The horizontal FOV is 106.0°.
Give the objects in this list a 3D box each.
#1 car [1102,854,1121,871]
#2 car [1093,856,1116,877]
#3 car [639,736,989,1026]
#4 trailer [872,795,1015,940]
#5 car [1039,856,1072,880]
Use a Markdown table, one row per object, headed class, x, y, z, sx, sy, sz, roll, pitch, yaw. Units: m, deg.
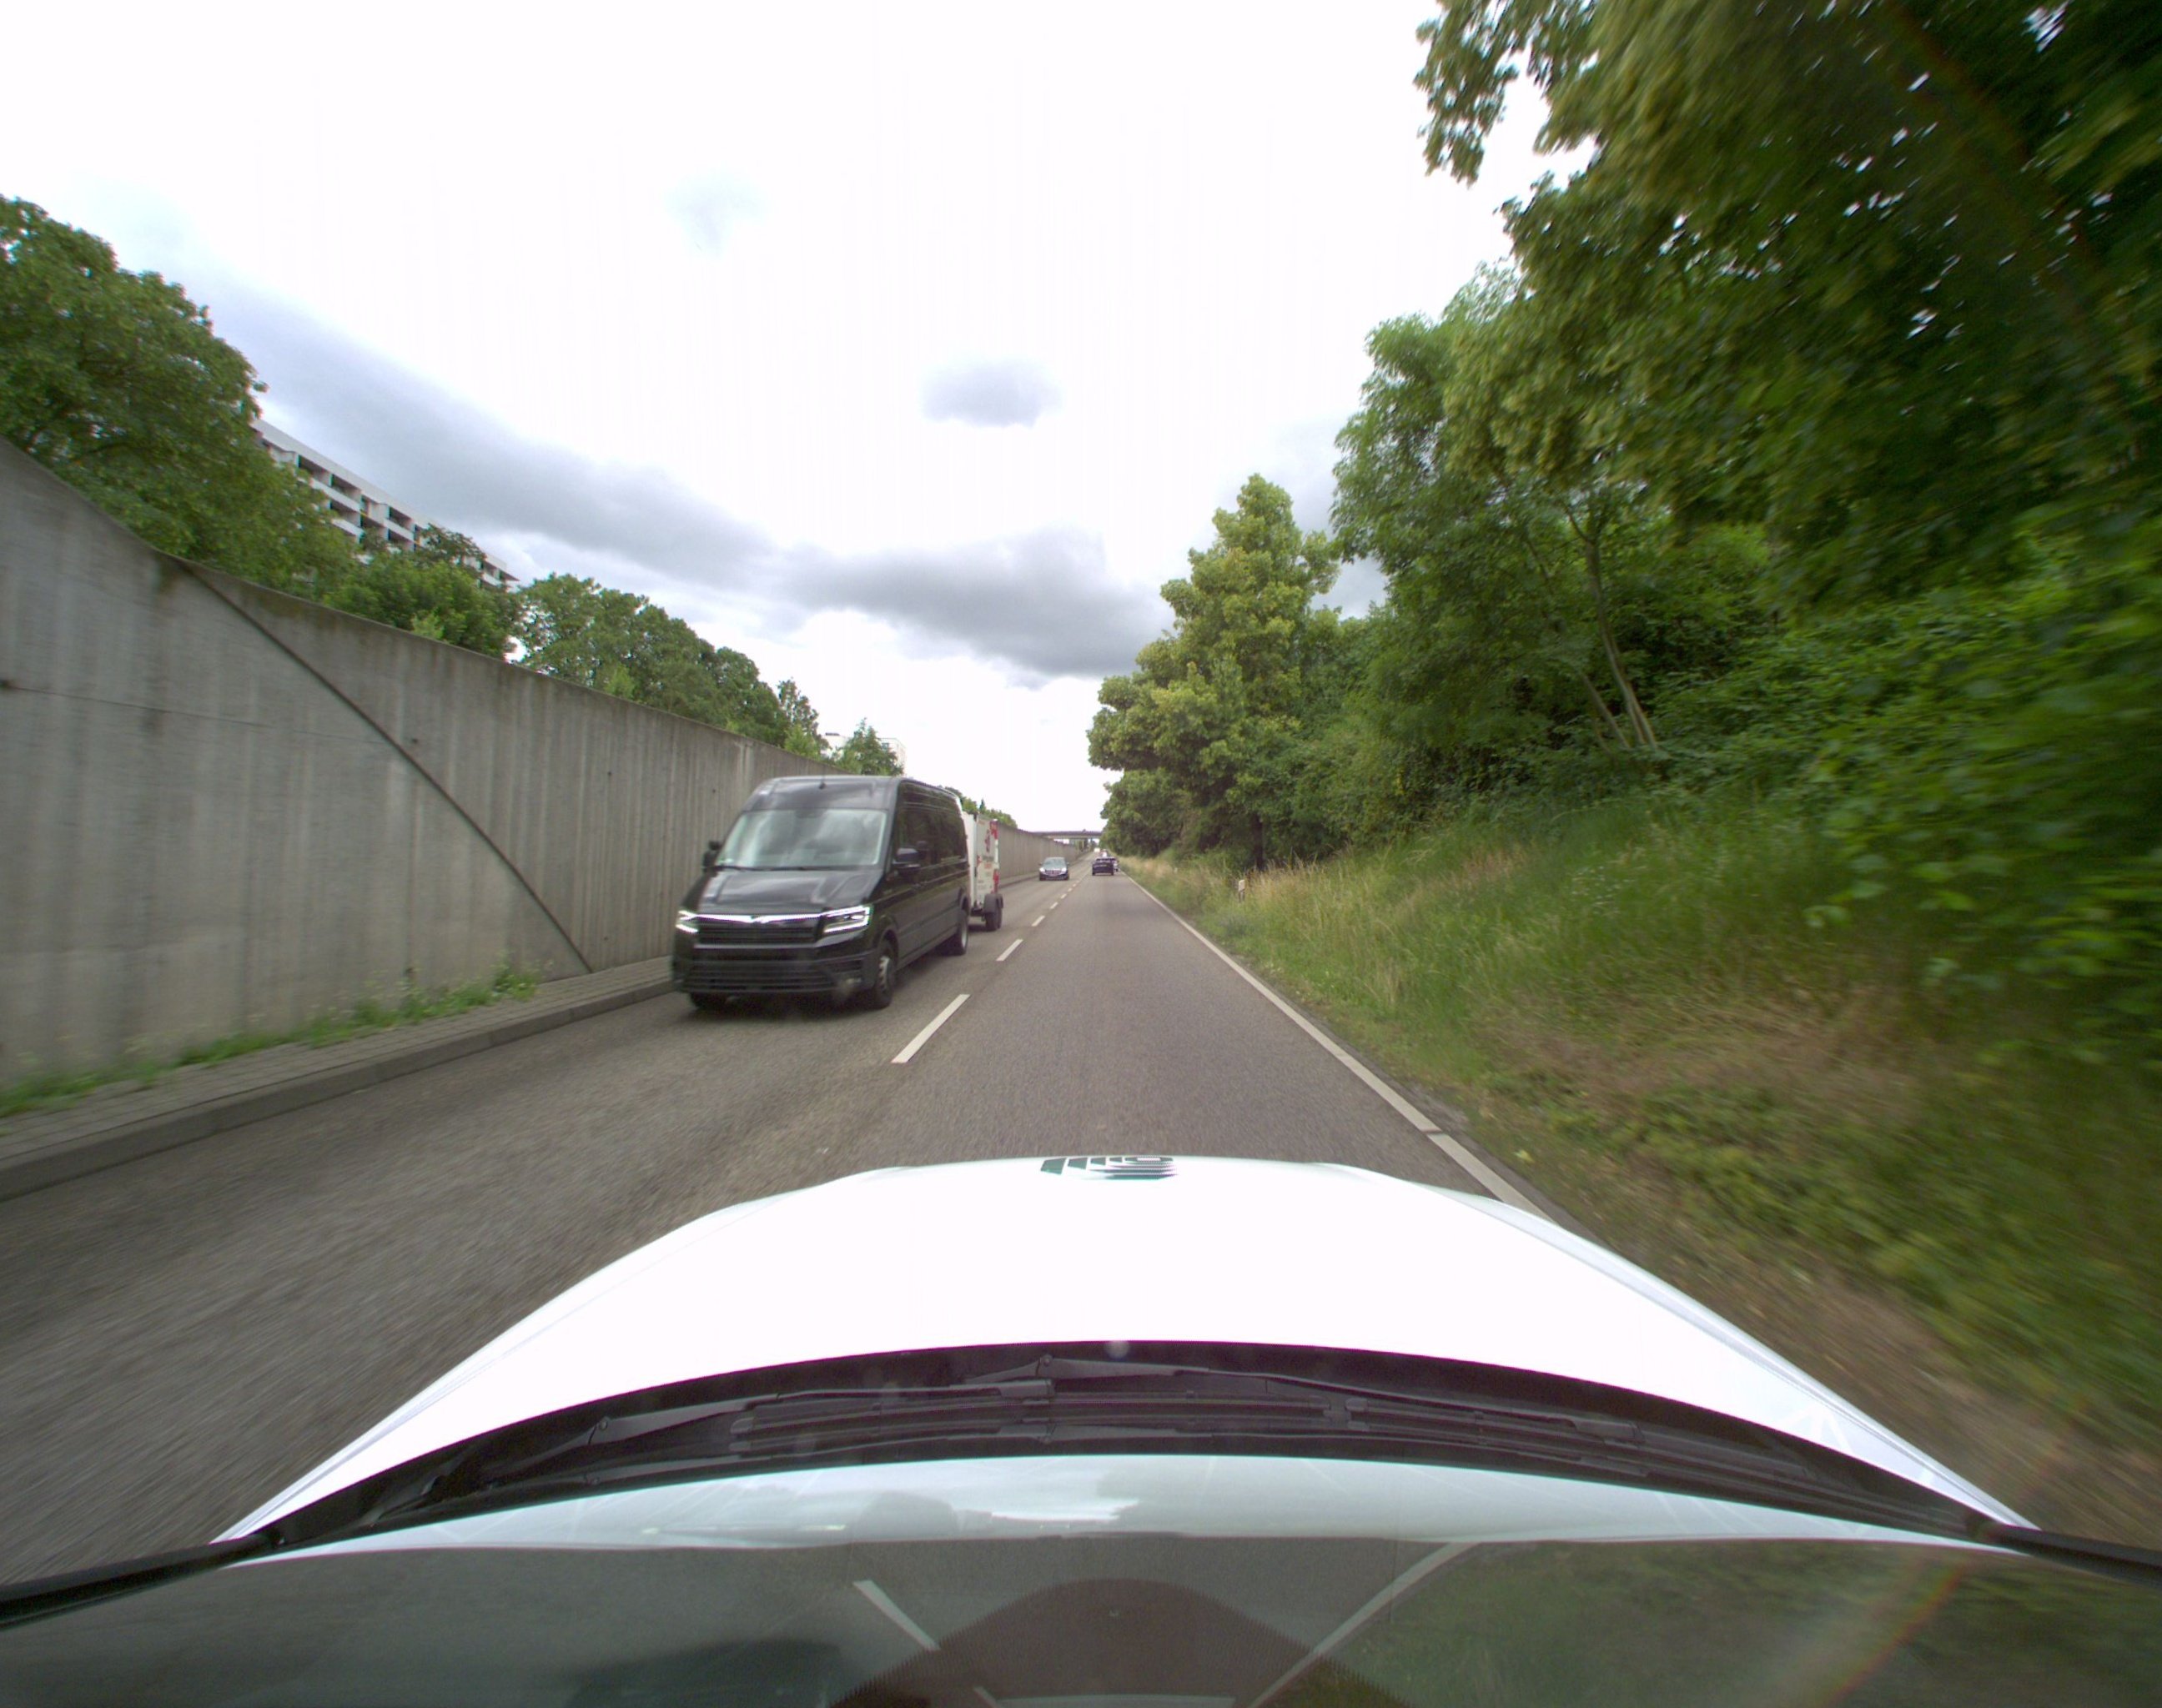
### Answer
| class | x | y | z | sx | sy | sz | roll | pitch | yaw |
| --- | --- | --- | --- | --- | --- | --- | --- | --- | --- |
| car | 3.136 | 0.862 | 82.578 | 1.747 | 1.523 | 4.039 | -3 | -2 | 3 |
| car | 1.903 | 1.042 | 66.349 | 1.748 | 1.523 | 4.037 | -2 | -1 | 1 |
| car | -2.864 | 0.254 | 11.143 | 2.102 | 2.630 | 7.420 | -1 | 0 | 2 |
| trailer | -2.690 | 0.249 | 17.092 | 2.102 | 2.630 | 4.373 | -1 | 0 | 2 |
| car | -1.618 | 0.886 | 53.833 | 1.885 | 1.483 | 4.825 | -1 | 0 | 2 |
